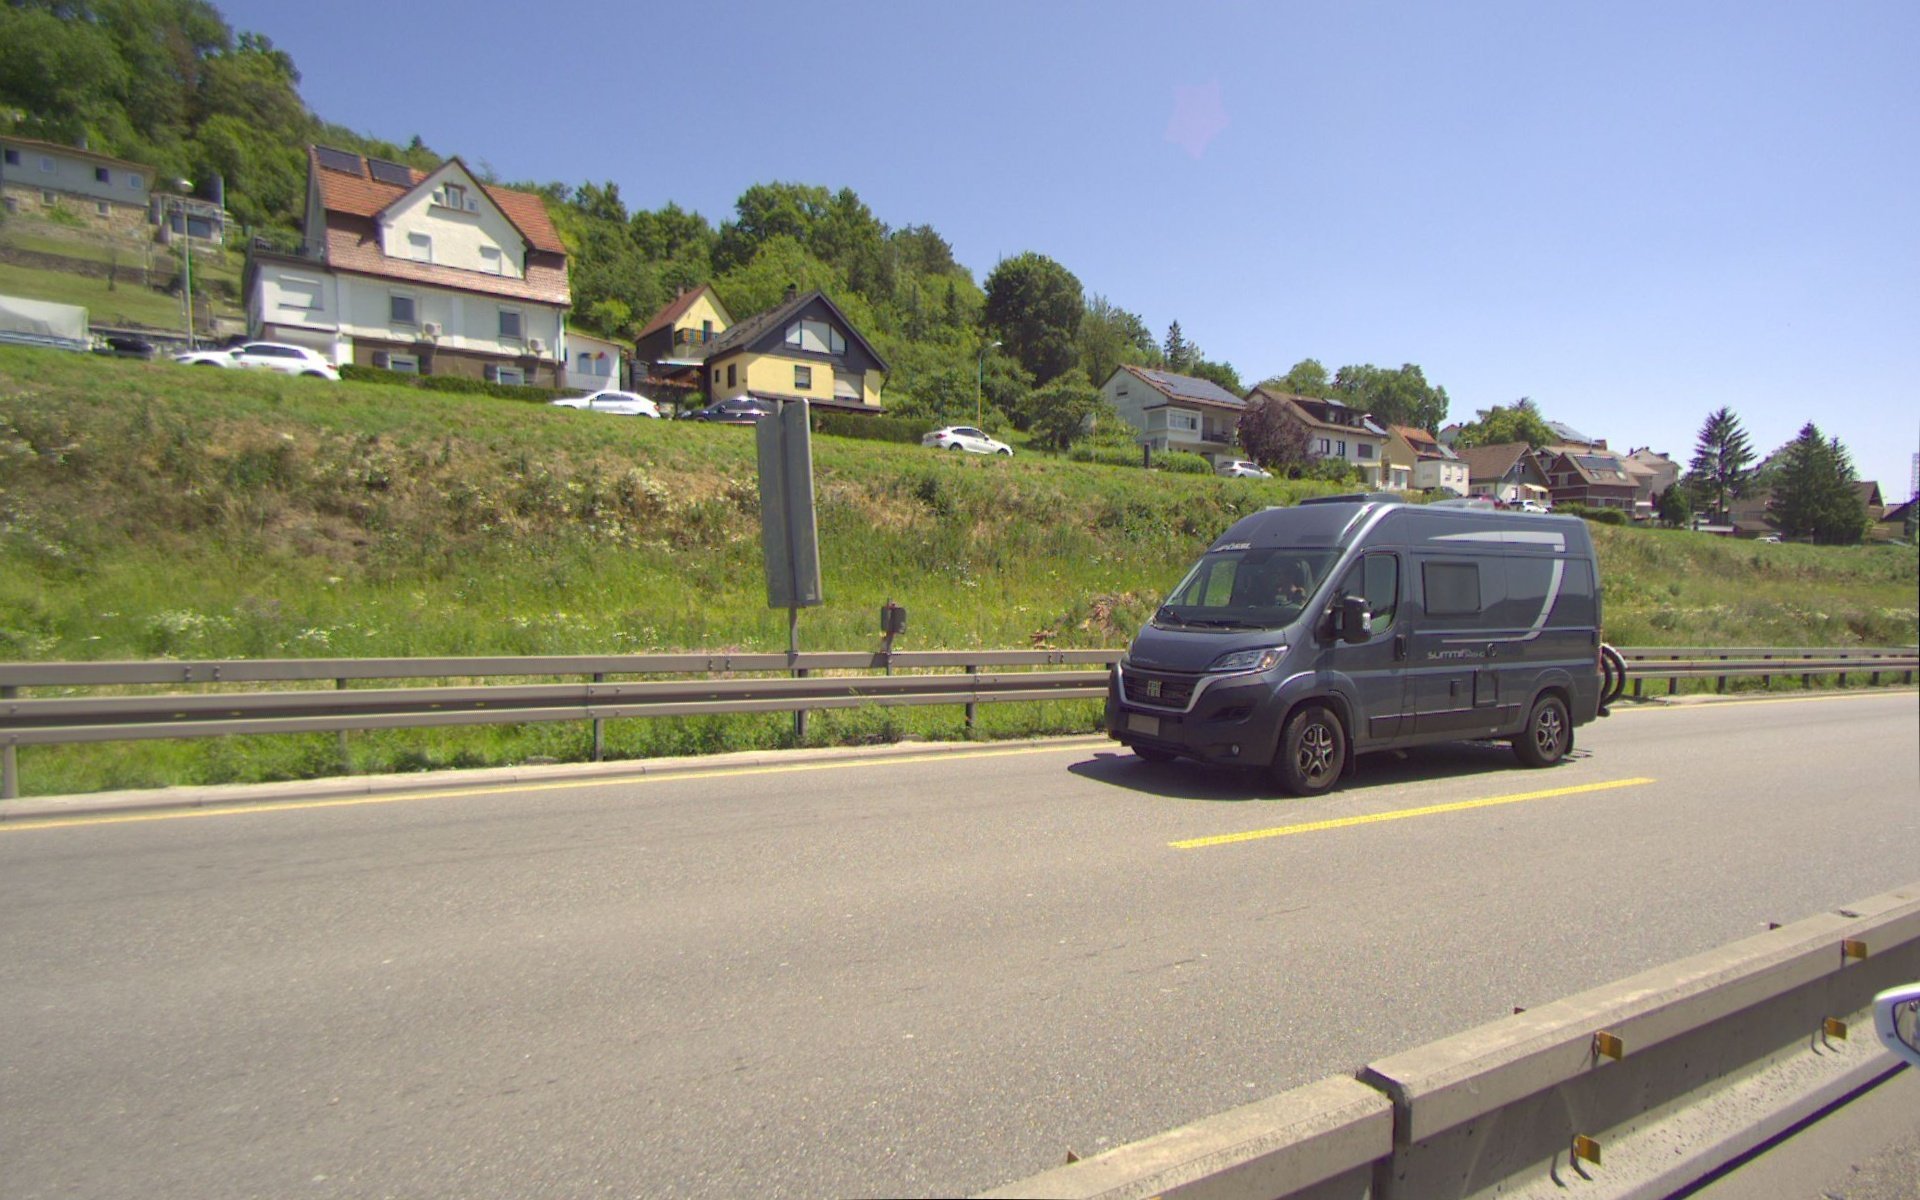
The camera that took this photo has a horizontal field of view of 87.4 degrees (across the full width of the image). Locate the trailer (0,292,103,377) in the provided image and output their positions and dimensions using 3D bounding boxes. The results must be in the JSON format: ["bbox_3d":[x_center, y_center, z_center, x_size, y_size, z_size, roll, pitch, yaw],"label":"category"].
[{"bbox_3d":[-25.115,-7.194,27.072,3.014,1.536,1.885,3,-1,-41],"label":"trailer"}]

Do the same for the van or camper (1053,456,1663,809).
[{"bbox_3d":[4.194,0.300,10.016,6.489,2.608,2.129,1,0,-31],"label":"van or camper"}]

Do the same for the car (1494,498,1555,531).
[{"bbox_3d":[45.068,-6.811,80.148,4.768,2.068,2.333,3,-1,-34],"label":"car"}]

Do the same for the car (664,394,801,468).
[{"bbox_3d":[-9.098,-6.689,40.322,4.925,2.035,2.056,3,-1,-36],"label":"car"}]

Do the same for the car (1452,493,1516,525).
[{"bbox_3d":[39.958,-6.901,76.567,4.752,1.817,2.333,3,-1,-34],"label":"car"}]

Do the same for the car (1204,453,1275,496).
[{"bbox_3d":[16.126,-7.181,57.892,3.964,1.817,1.979,3,-1,-37],"label":"car"}]

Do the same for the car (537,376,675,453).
[{"bbox_3d":[-13.047,-6.761,37.095,4.389,1.896,1.979,3,-1,-36],"label":"car"}]

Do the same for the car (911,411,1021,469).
[{"bbox_3d":[0.336,-7.485,47.277,4.966,1.817,1.979,3,-1,-37],"label":"car"}]

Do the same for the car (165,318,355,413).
[{"bbox_3d":[-21.124,-6.988,30.409,4.516,1.677,1.977,3,-1,-40],"label":"car"}]
